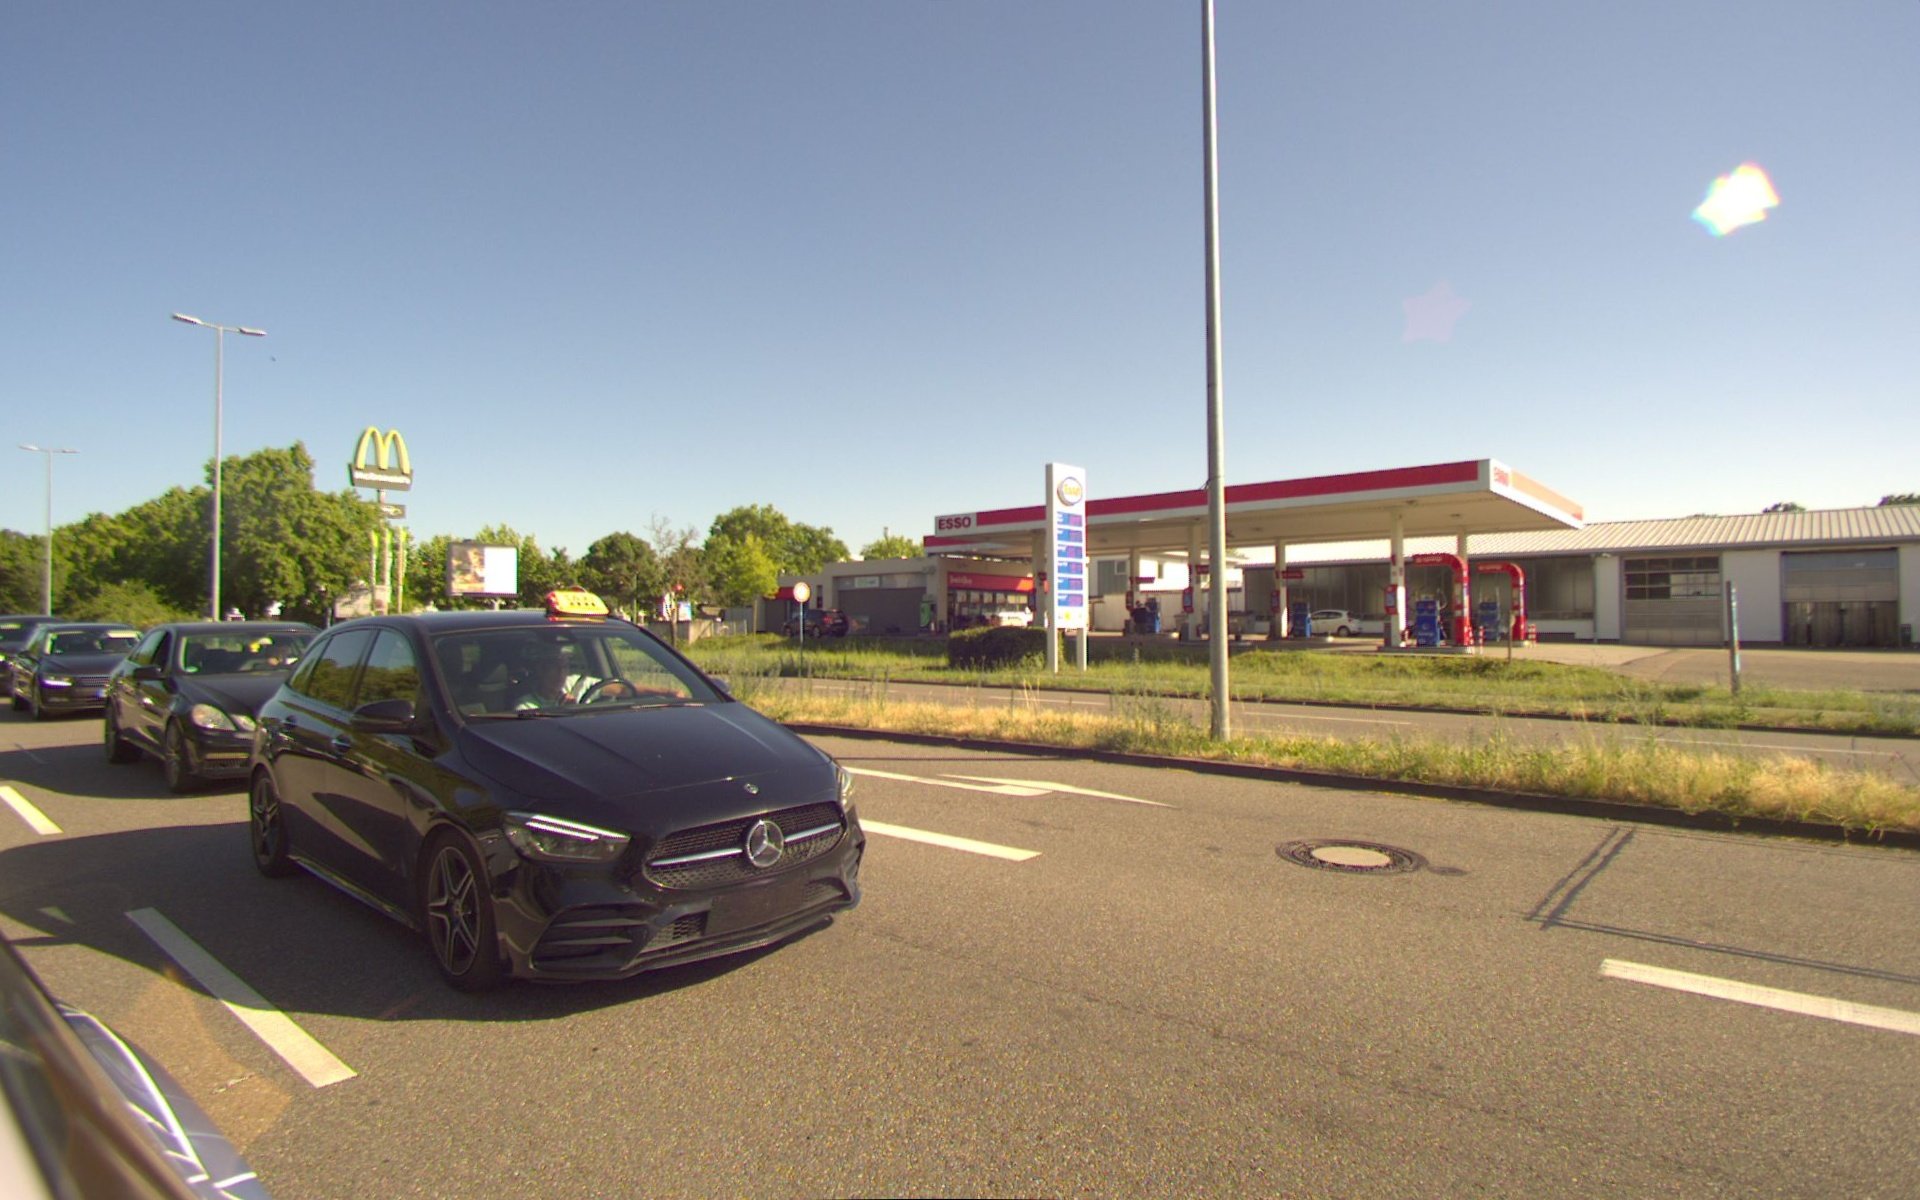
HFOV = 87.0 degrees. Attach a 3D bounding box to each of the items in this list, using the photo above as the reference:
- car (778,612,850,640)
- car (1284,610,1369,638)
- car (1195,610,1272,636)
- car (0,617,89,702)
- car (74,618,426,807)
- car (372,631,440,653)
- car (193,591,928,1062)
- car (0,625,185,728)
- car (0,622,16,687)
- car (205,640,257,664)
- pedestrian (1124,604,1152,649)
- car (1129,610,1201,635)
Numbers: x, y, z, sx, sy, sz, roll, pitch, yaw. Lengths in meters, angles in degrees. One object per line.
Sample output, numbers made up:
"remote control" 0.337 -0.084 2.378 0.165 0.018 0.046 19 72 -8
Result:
"car" -7.924 1.427 54.806 3.975 1.420 1.661 -1 -4 40
"car" 19.836 1.295 54.846 3.975 1.420 1.661 -1 -4 40
"car" 15.834 1.347 58.587 3.975 1.420 1.661 -1 -4 40
"car" -19.938 1.207 21.446 3.876 1.629 1.653 -2 -1 40
"car" -7.259 0.934 10.165 4.400 1.449 1.845 -1 0 40
"car" -38.254 2.899 69.983 1.750 1.420 3.955 1 -3 18
"car" -2.381 0.740 5.339 4.400 1.502 1.741 -1 0 40
"car" -14.450 1.158 16.697 4.284 1.438 1.775 -1 0 40
"car" -25.223 1.374 25.543 3.774 1.567 1.615 -1 -1 40
"car" -46.763 3.299 64.883 3.975 1.420 1.741 -1 -4 40
"pedestrian" 6.986 1.026 39.706 0.890 1.763 0.791 -1 0 -3
"car" 12.436 1.391 61.386 3.975 1.420 1.661 -1 -4 40
